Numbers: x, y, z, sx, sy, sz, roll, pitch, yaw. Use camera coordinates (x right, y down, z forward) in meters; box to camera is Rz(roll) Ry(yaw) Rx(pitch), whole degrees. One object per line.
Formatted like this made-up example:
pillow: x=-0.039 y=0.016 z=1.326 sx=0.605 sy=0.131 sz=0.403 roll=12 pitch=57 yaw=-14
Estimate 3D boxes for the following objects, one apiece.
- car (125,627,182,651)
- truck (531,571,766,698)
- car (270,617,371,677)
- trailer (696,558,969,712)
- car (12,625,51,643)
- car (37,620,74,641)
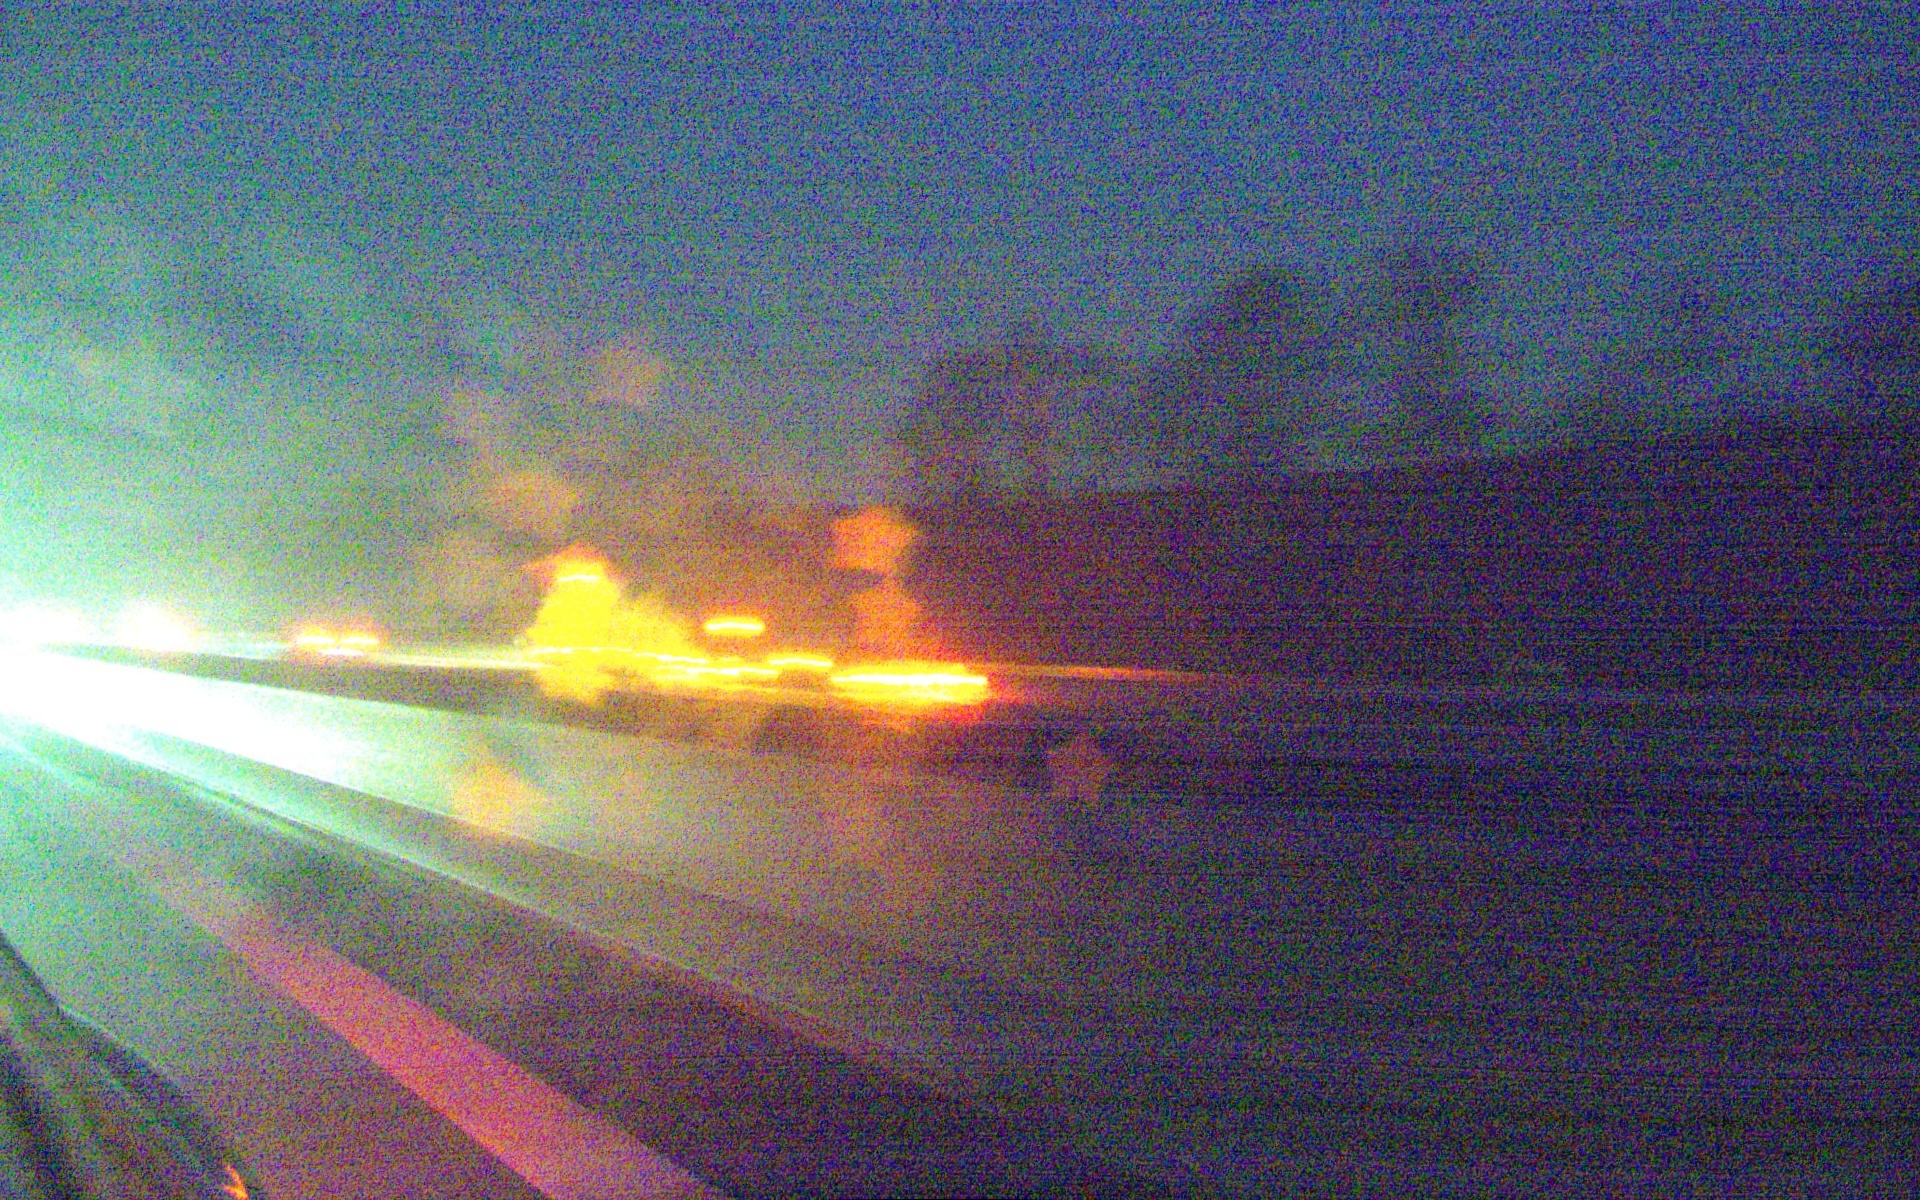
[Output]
car: x=-54.103 y=2.612 z=67.868 sx=4.525 sy=1.571 sz=1.975 roll=-2 pitch=-2 yaw=37
truck: x=-11.282 y=1.205 z=35.884 sx=10.203 sy=3.938 sz=2.839 roll=-2 pitch=-2 yaw=40
car: x=-22.929 y=1.661 z=36.221 sx=3.998 sy=2.029 sz=1.973 roll=-2 pitch=-2 yaw=41
trailer: x=-3.970 y=1.014 z=29.759 sx=8.697 sy=3.930 sz=2.828 roll=-2 pitch=-2 yaw=40
car: x=-78.124 y=2.858 z=85.152 sx=4.435 sy=1.451 sz=1.972 roll=-1 pitch=-2 yaw=42
car: x=-88.528 y=2.970 z=99.006 sx=5.357 sy=2.029 sz=1.973 roll=-1 pitch=-2 yaw=41
